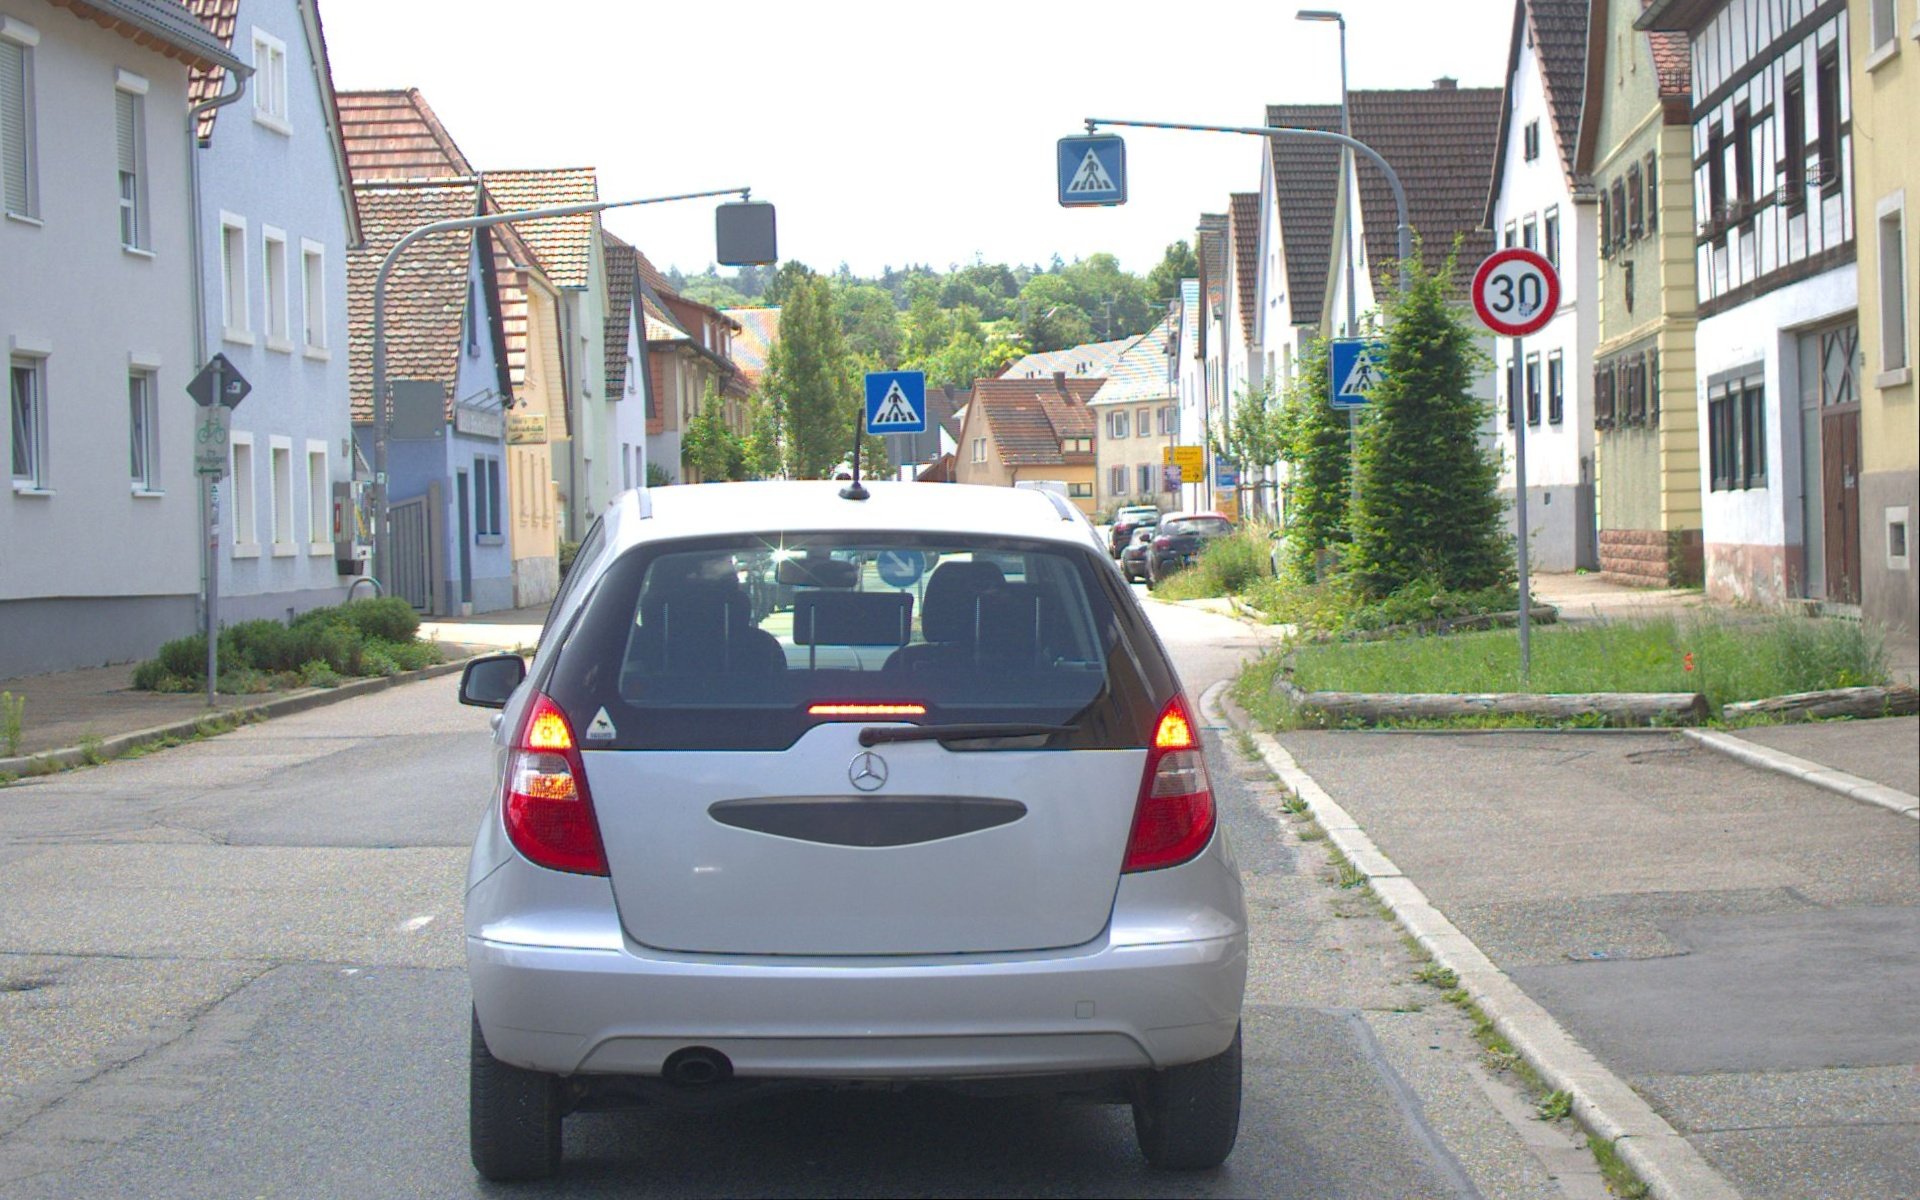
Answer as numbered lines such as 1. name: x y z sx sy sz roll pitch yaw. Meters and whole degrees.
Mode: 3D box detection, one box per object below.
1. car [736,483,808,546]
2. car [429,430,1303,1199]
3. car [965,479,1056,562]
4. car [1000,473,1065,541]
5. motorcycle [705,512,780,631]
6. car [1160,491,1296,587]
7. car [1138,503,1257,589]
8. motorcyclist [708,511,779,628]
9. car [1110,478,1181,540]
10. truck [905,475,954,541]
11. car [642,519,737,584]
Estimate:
1. car: -5.111 -2.322 93.859 1.667 1.590 4.000 0 0 1
2. car: -0.388 0.450 9.039 1.810 1.638 3.730 1 1 -6
3. car: 1.144 -1.815 79.536 1.993 1.810 4.000 0 0 0
4. car: 2.294 -2.925 109.257 1.993 2.007 4.000 0 0 1
5. motorcycle: -2.921 -0.399 46.337 0.880 1.555 1.967 0 2 0
6. car: 4.443 -0.990 57.424 1.993 1.503 4.000 0 0 1
7. car: 4.406 -0.991 64.252 1.993 1.503 4.000 0 0 1
8. motorcyclist: -2.917 -0.414 46.360 0.896 1.549 0.807 0 2 0
9. car: 5.796 -2.826 107.759 1.993 1.810 4.000 0 0 0
10. truck: -1.244 -3.806 144.059 1.993 2.528 6.739 0 0 0
11. car: -5.884 -1.041 74.861 1.993 1.317 3.709 0 0 -4
